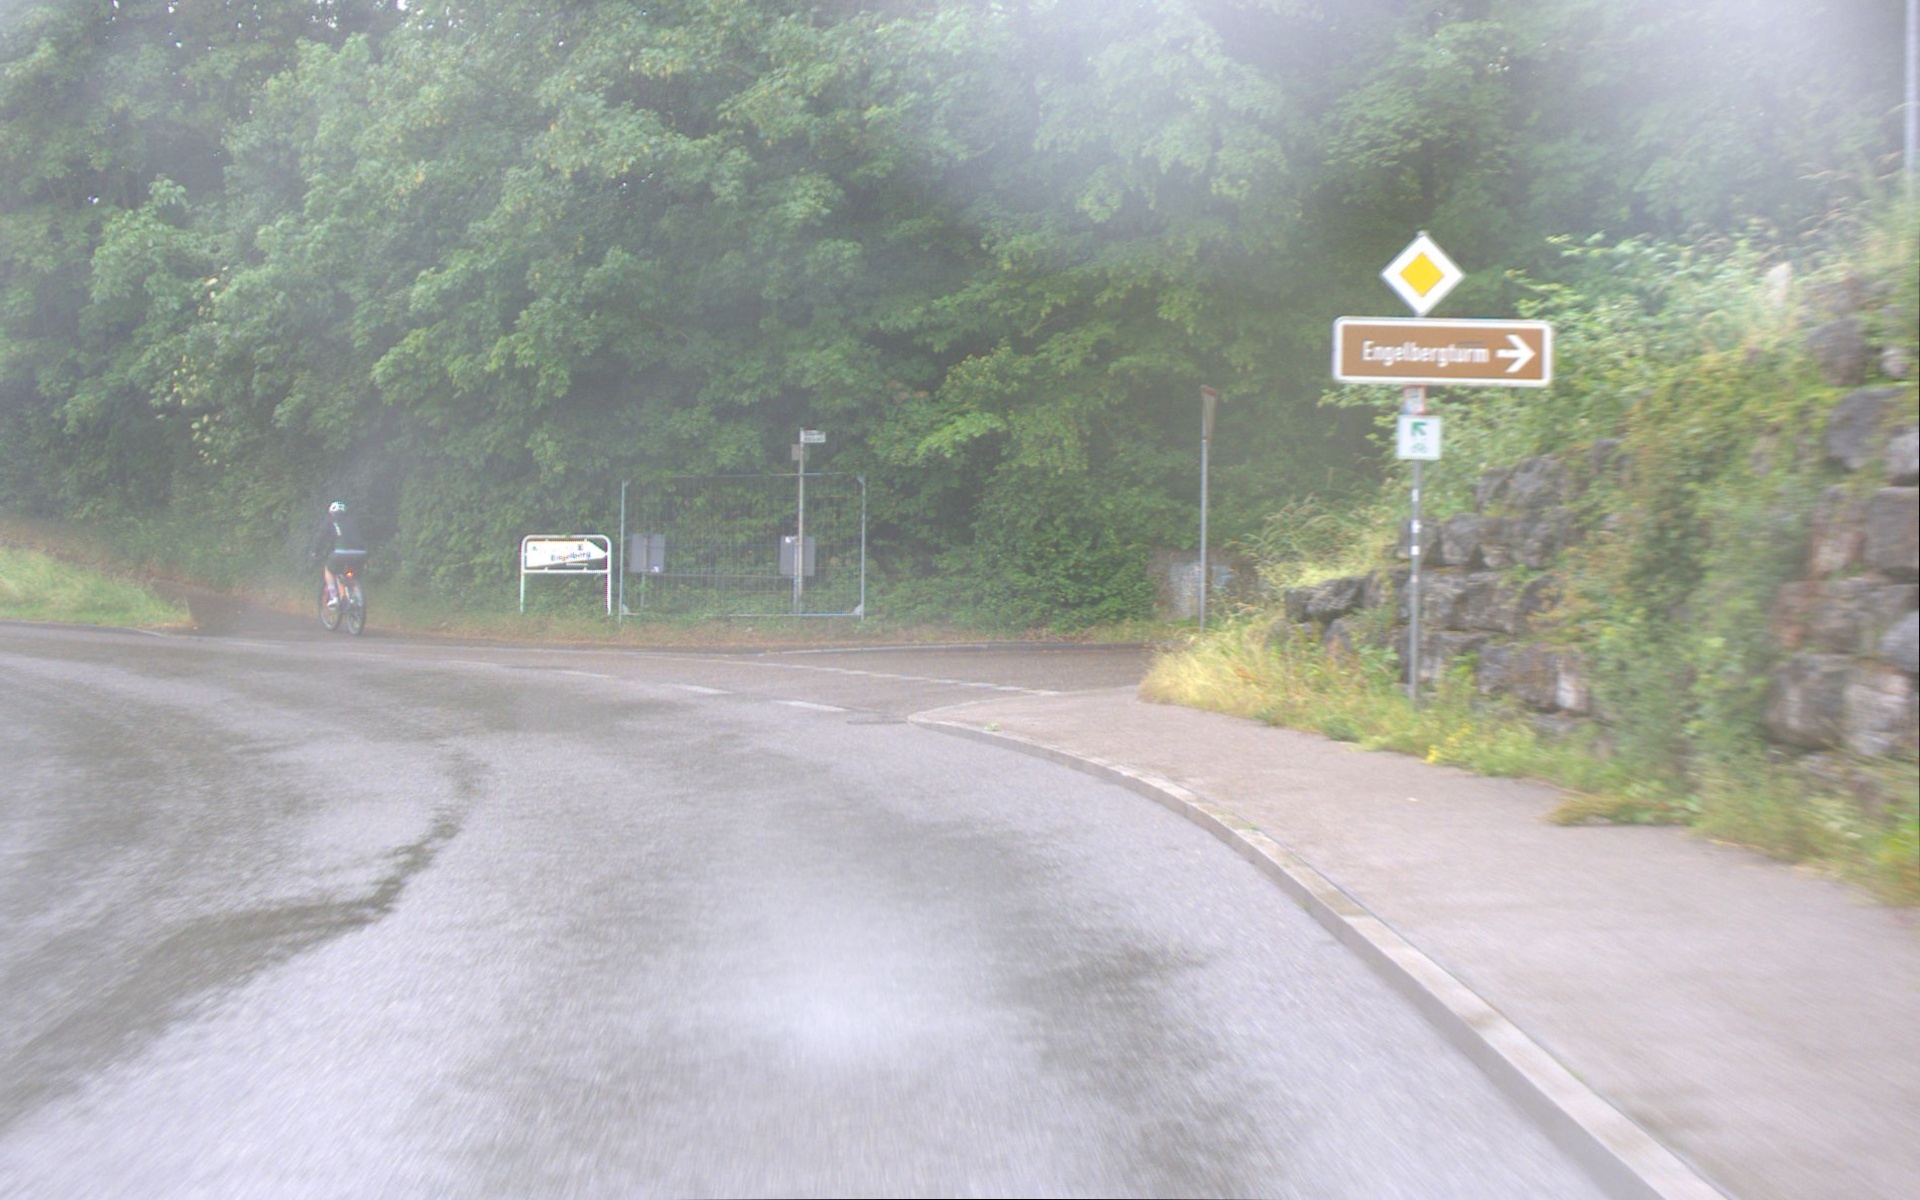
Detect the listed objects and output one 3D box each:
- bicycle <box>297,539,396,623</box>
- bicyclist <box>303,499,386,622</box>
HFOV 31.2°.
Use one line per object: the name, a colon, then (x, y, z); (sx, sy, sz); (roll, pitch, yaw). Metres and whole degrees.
bicycle: (-8.185, -0.259, 45.800); (0.527, 1.081, 1.620); (1, 1, -41)
bicyclist: (-8.196, -0.523, 45.776); (0.720, 1.609, 0.905); (1, 1, -38)
